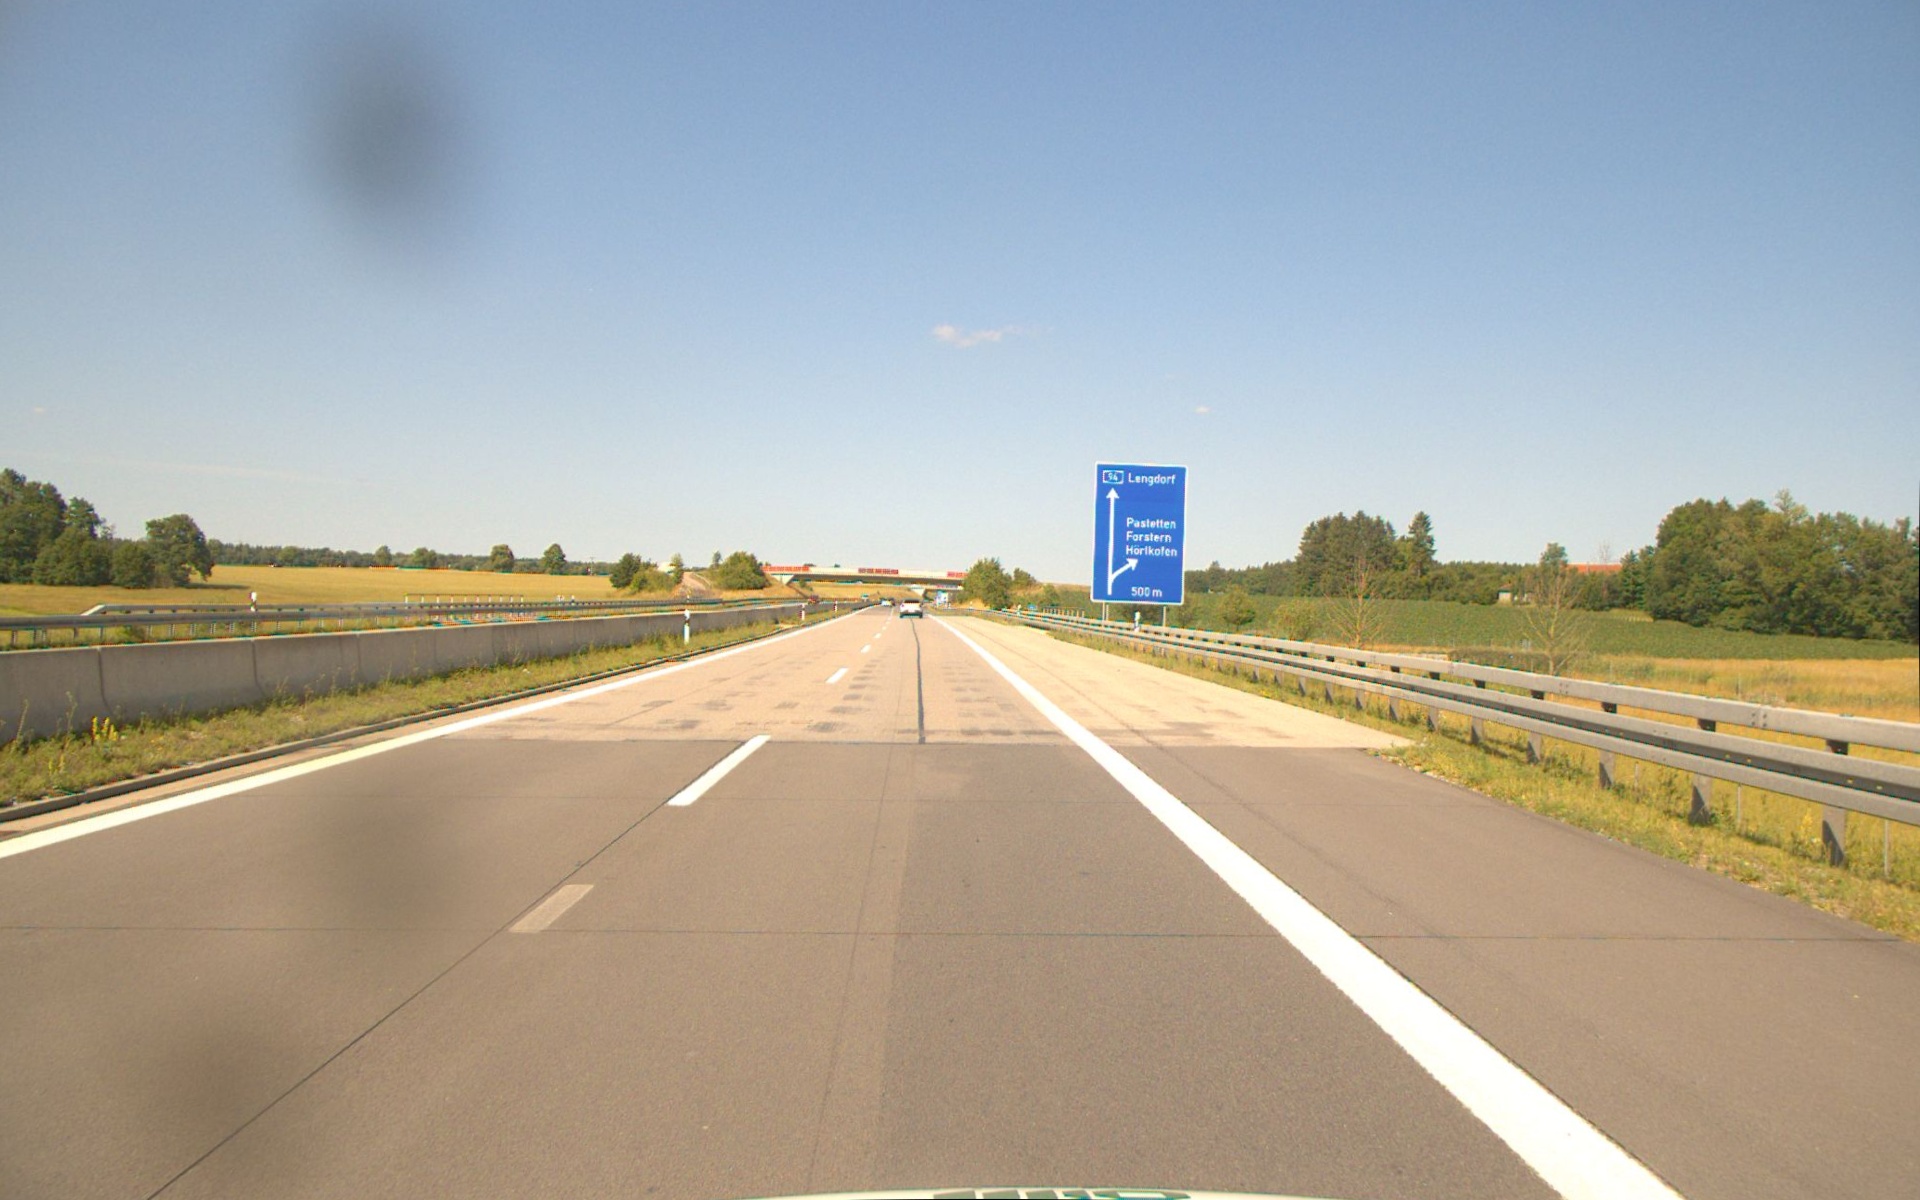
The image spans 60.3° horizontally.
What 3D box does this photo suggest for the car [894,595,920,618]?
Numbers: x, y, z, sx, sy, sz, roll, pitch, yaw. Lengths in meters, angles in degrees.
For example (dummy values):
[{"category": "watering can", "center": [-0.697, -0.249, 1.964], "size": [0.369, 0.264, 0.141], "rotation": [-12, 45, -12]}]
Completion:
[{"category": "car", "center": [-4.280, 0.505, 132.854], "size": [1.954, 1.761, 4.865], "rotation": [2, 0, -4]}]
